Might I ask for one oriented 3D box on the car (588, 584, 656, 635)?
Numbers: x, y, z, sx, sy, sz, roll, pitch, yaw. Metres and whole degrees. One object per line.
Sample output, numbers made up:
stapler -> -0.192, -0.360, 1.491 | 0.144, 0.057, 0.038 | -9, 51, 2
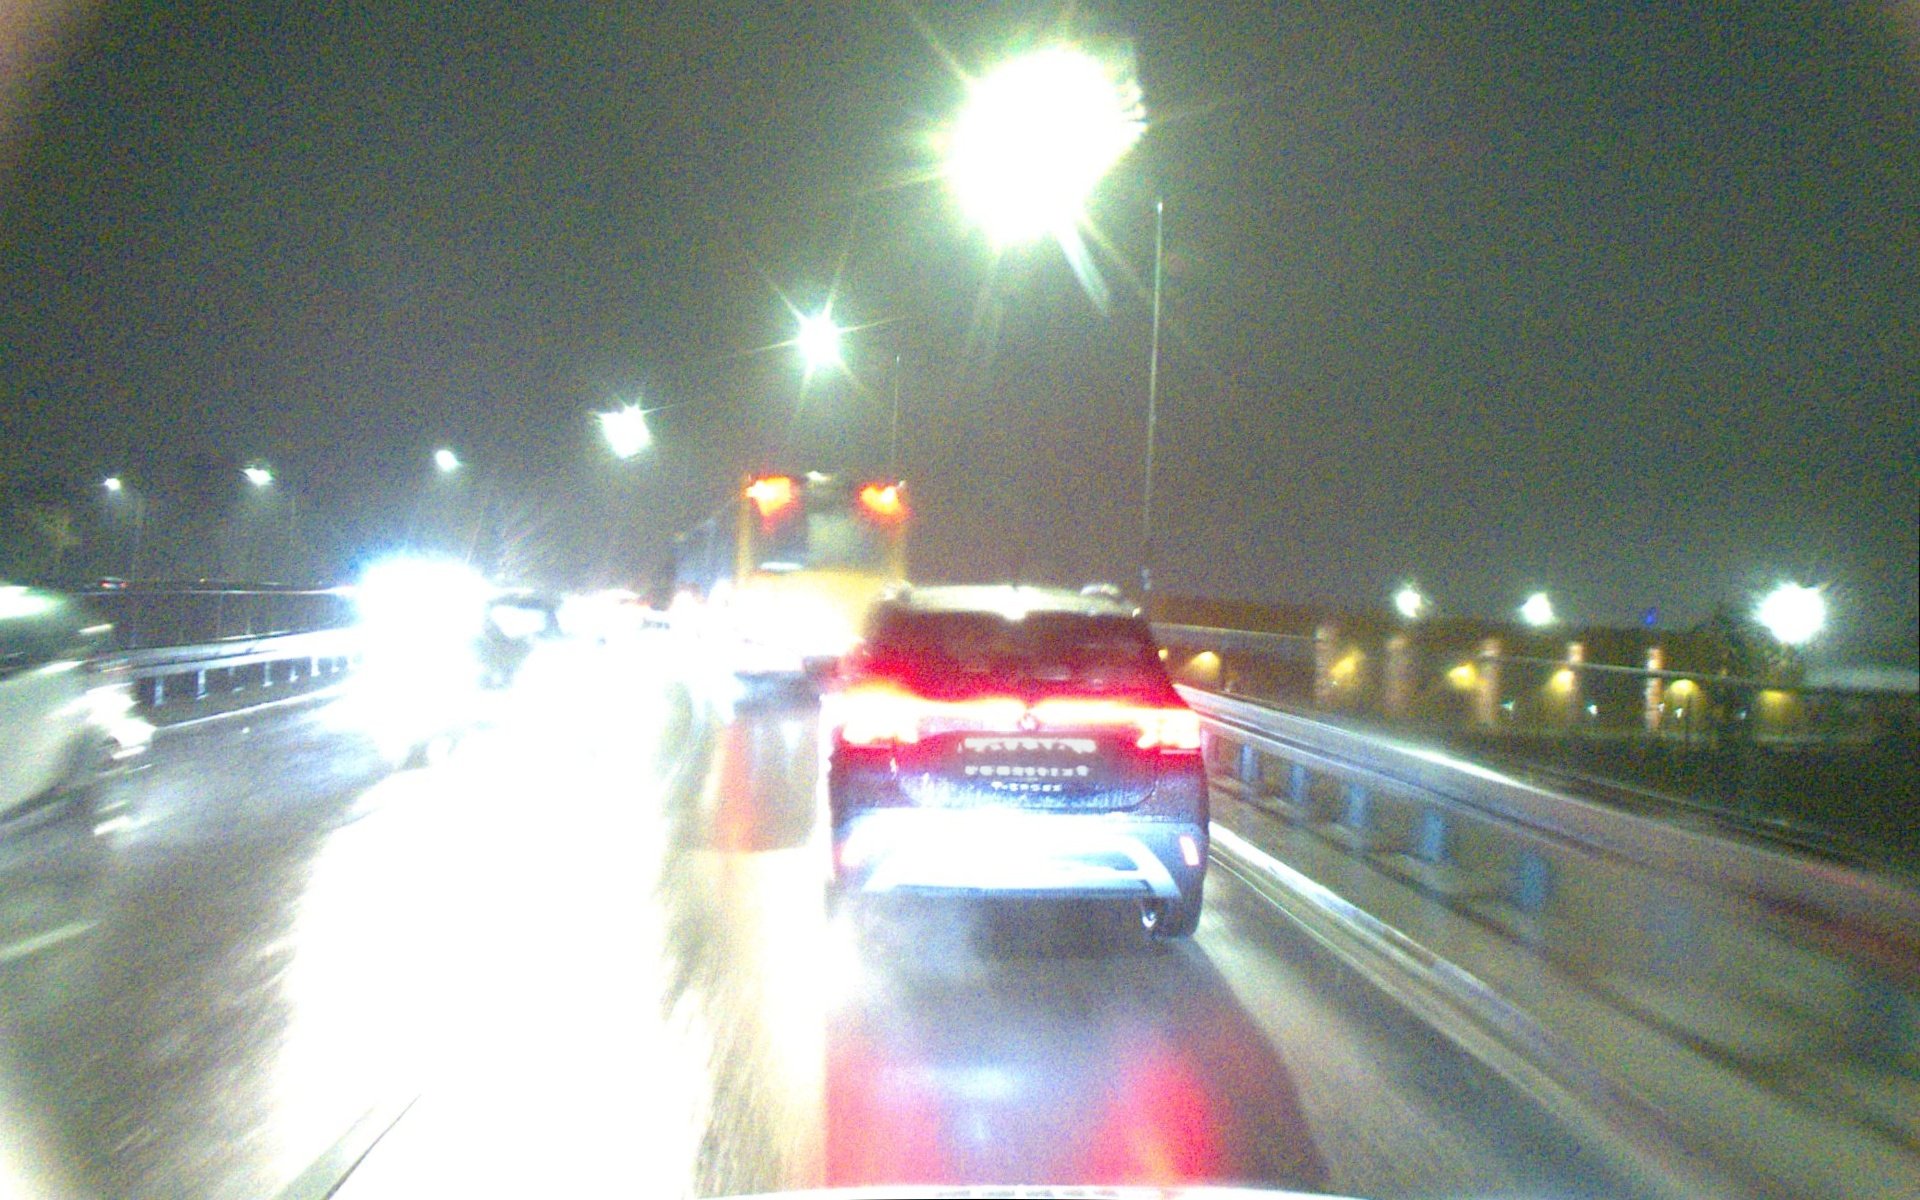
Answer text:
car -> -11.991, 0.339, 58.528 | 1.614, 1.684, 3.683 | -2, 0, -23

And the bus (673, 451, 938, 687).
bus -> -3.170, -0.510, 28.960 | 3.030, 3.187, 12.656 | 0, 1, -13

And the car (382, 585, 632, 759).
car -> -4.254, 0.594, 16.131 | 1.860, 1.464, 4.055 | 0, 0, -8

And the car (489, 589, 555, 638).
car -> -13.613, 0.394, 51.596 | 1.783, 1.428, 4.036 | 0, 1, -12

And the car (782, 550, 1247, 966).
car -> 0.021, 0.642, 8.554 | 1.820, 1.614, 3.994 | 2, 0, -6

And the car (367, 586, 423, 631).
car -> -26.429, 0.379, 77.349 | 1.651, 2.049, 3.956 | 0, 0, -32

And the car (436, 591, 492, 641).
car -> -19.844, 0.618, 66.054 | 1.730, 1.893, 3.972 | -1, 1, -23

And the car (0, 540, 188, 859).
car -> -5.582, 0.488, 8.880 | 1.441, 1.612, 3.190 | 0, 1, -1
